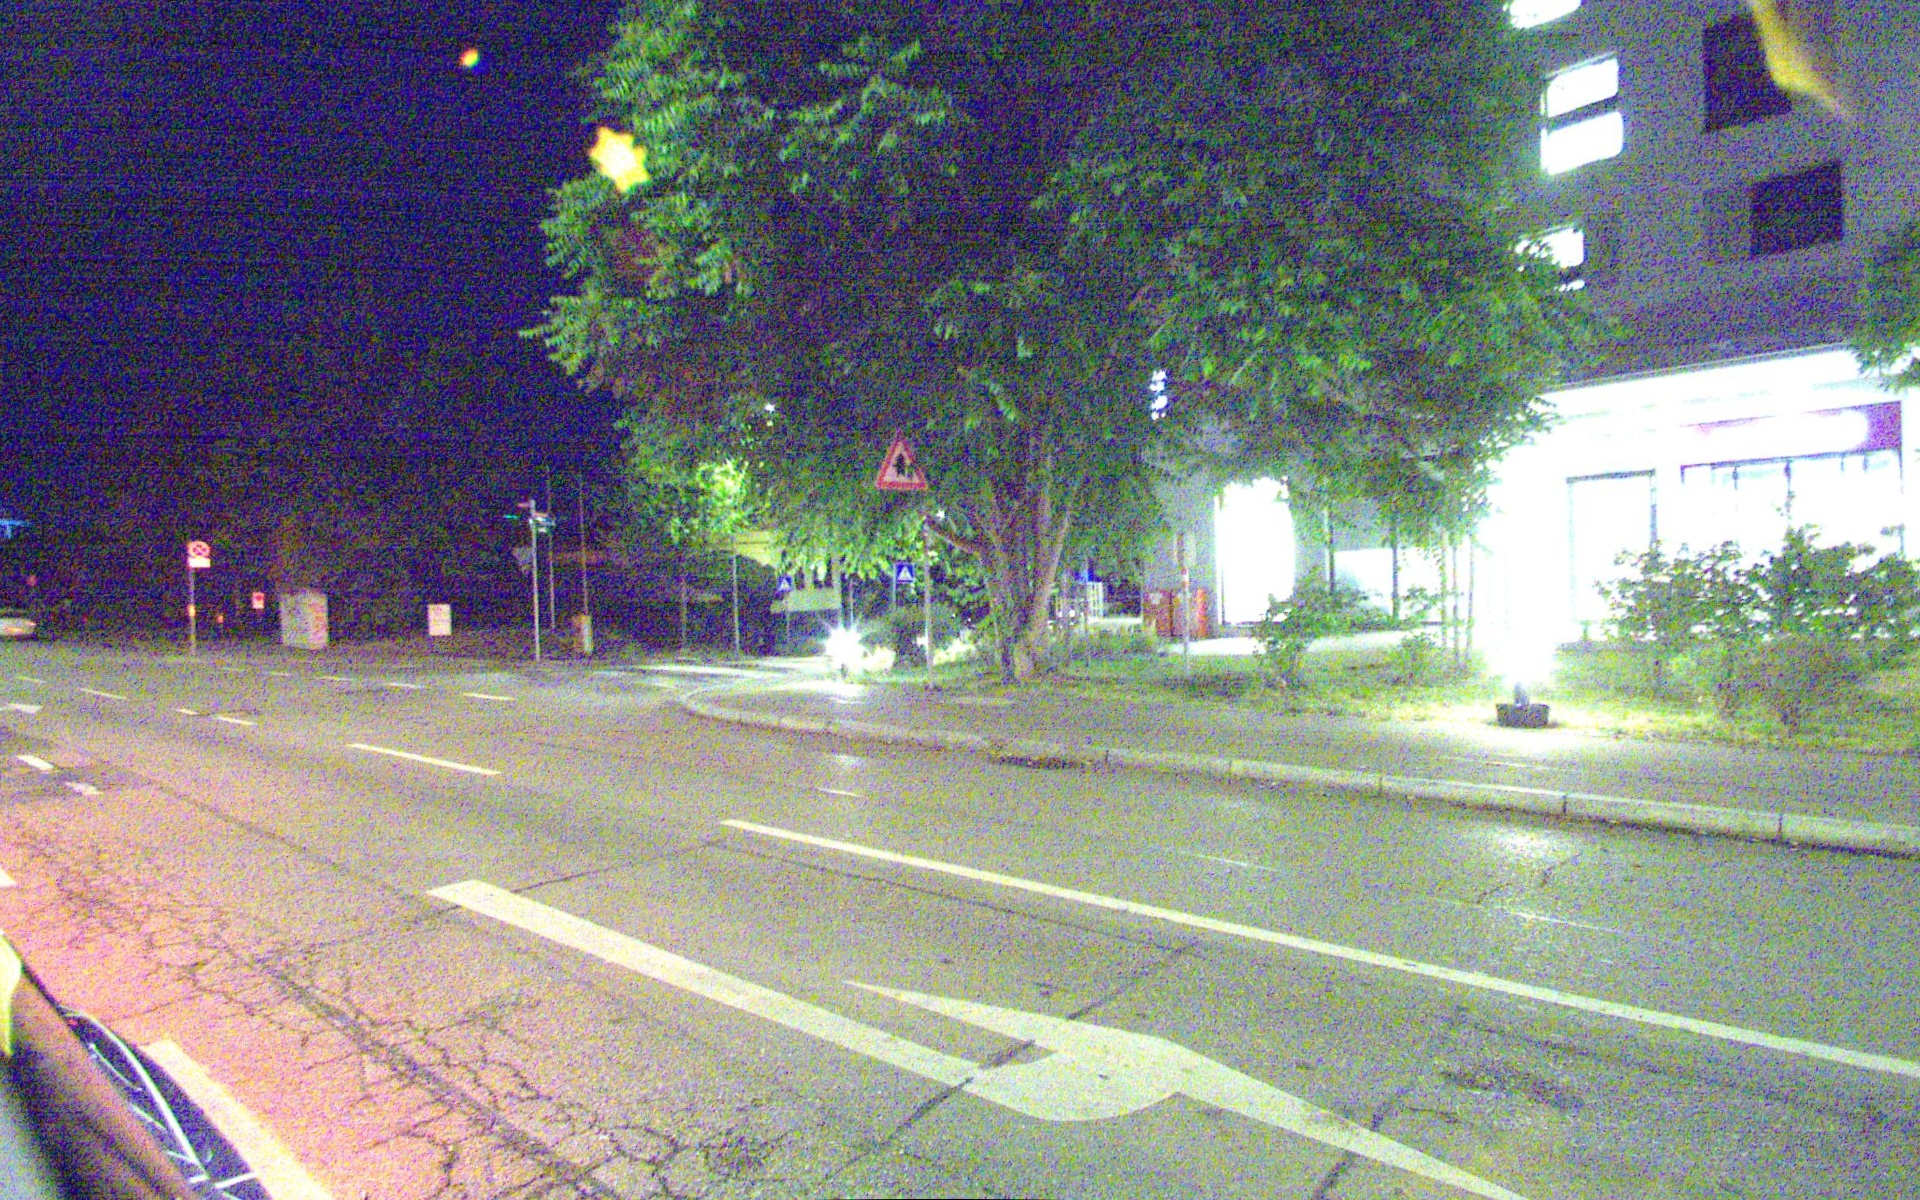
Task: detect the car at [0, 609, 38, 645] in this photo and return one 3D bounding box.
[{"bbox_3d":[-43.276,1.211,45.767,3.998,1.464,1.887,1,2,41],"label":"car"}]
